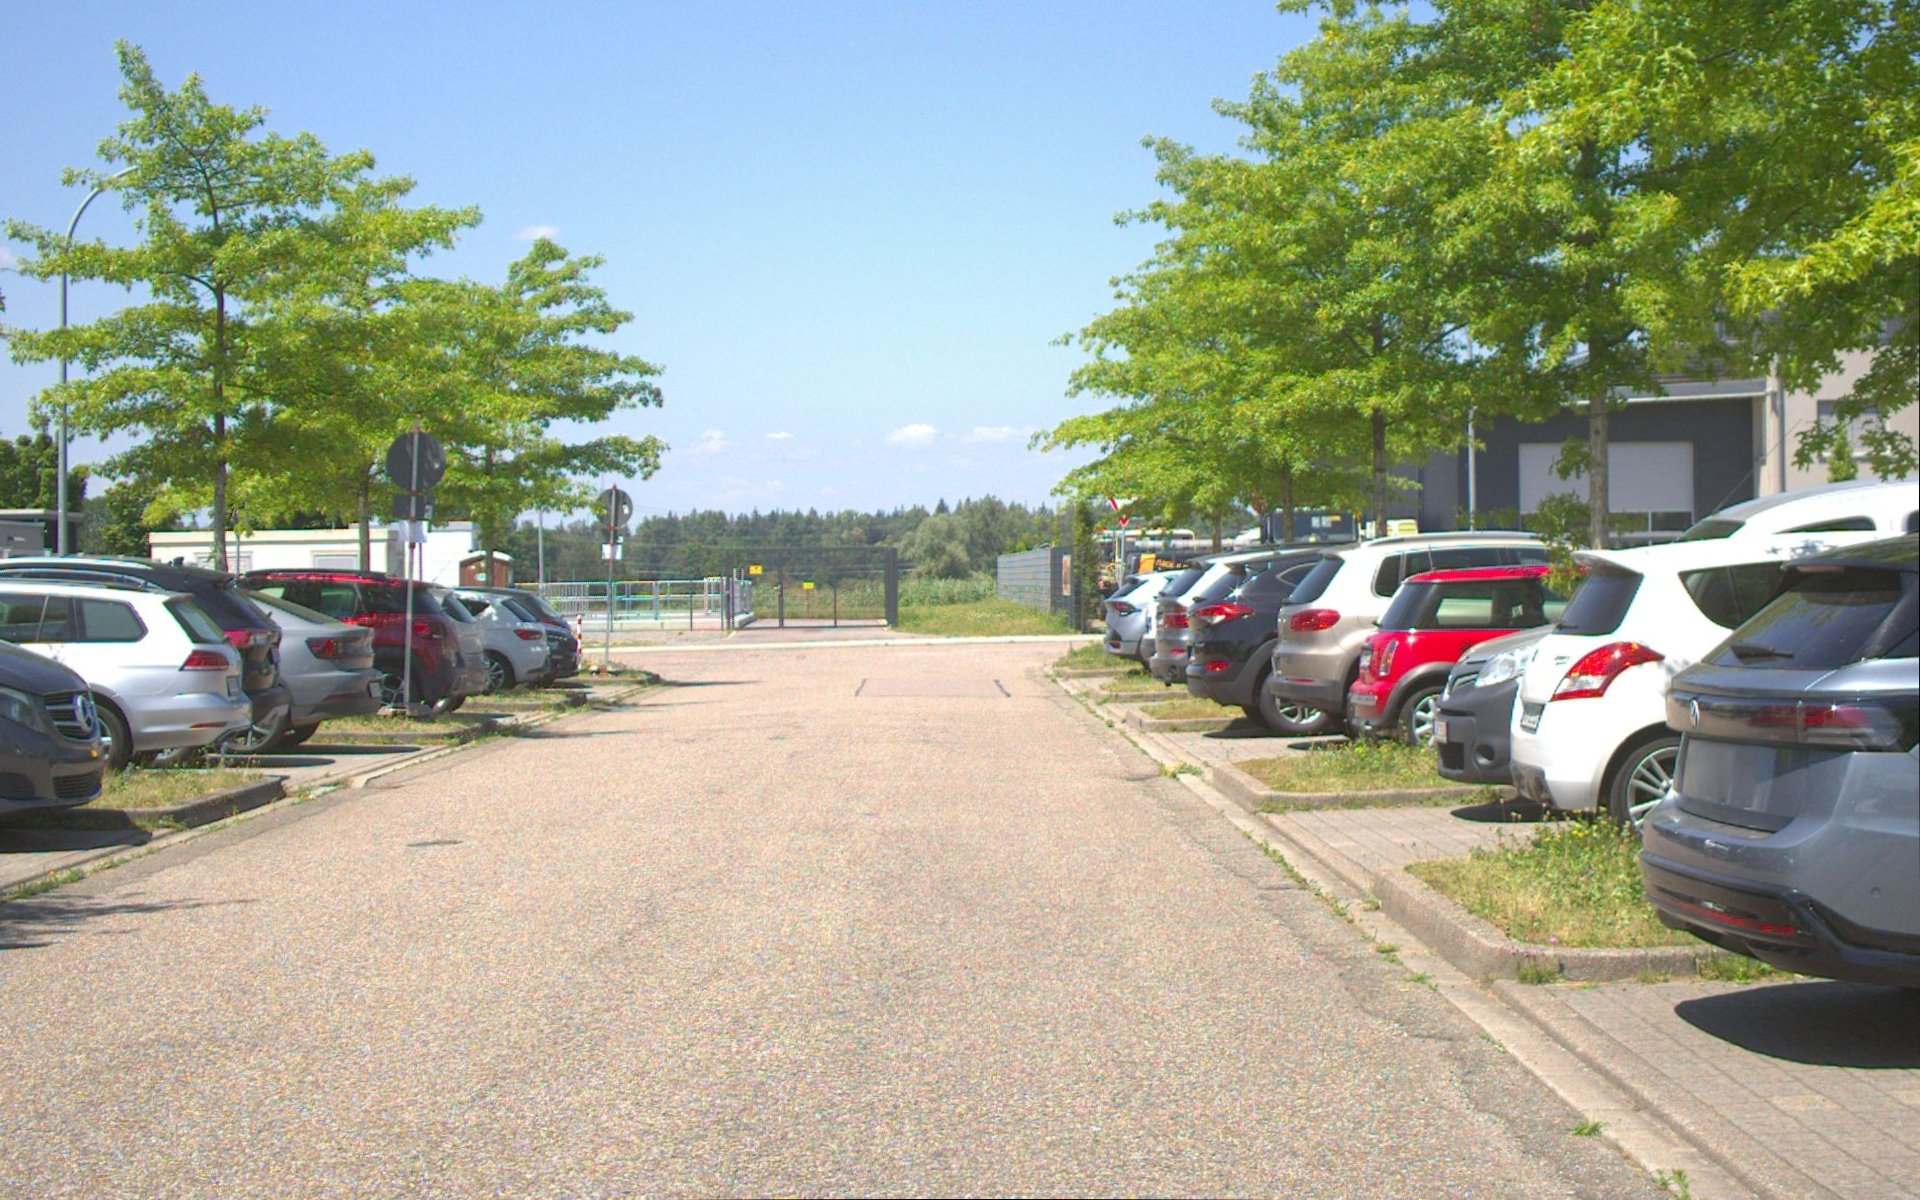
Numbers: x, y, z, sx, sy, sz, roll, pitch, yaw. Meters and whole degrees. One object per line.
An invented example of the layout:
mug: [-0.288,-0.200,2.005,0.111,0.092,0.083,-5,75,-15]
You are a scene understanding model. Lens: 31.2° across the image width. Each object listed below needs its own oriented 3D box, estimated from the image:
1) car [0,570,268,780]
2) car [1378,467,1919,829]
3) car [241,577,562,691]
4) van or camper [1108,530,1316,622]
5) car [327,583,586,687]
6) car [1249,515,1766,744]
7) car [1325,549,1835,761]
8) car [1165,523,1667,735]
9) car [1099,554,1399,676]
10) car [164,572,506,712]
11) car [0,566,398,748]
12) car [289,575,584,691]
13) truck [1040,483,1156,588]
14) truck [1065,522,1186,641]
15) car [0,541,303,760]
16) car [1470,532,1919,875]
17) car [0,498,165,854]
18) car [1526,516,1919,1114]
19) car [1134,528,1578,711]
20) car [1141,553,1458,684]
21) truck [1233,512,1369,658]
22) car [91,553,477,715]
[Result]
car: [-7.267,0.502,25.299,4.036,1.456,1.604,2,0,-3]
car: [4.666,0.218,19.148,4.403,1.824,1.795,-2,0,1]
car: [-7.455,0.444,46.224,4.075,1.419,1.874,1,0,-4]
van or camper: [6.185,-0.600,84.744,4.936,2.156,2.000,-1,1,-1]
car: [-7.426,0.509,50.922,3.625,1.431,1.726,1,0,-3]
car: [4.400,0.226,28.063,3.875,1.672,1.782,-2,0,0]
car: [4.595,0.394,25.840,3.457,1.412,1.755,-2,0,-1]
car: [4.019,0.246,30.770,4.173,1.690,1.782,-2,0,-1]
car: [4.281,0.217,51.405,4.279,1.638,1.851,-2,0,0]
car: [-7.105,0.467,39.344,3.656,1.503,1.731,1,0,-4]
car: [-7.234,0.472,30.466,4.193,1.475,1.713,2,0,0]
car: [-7.360,0.459,48.620,3.927,1.515,1.785,1,0,-3]
truck: [3.959,-1.842,100.058,2.921,2.928,6.936,-1,1,-1]
truck: [4.409,-0.523,92.753,2.726,3.051,6.936,-1,1,-1]
car: [-7.486,0.373,28.051,3.986,1.673,1.777,2,0,-5]
car: [4.410,0.434,16.503,3.631,1.498,1.676,-2,0,1]
car: [-7.243,0.359,19.289,5.070,1.885,1.997,1,1,1]
car: [4.254,0.481,10.183,4.715,1.555,1.914,-2,0,-4]
car: [4.216,0.196,37.080,4.448,1.762,1.993,-2,0,-2]
car: [4.542,0.247,46.487,4.068,1.602,1.901,-2,0,1]
truck: [9.539,-0.433,96.818,2.921,3.916,6.936,-1,1,-1]
car: [-7.172,0.352,36.728,3.737,1.616,1.816,1,0,0]
